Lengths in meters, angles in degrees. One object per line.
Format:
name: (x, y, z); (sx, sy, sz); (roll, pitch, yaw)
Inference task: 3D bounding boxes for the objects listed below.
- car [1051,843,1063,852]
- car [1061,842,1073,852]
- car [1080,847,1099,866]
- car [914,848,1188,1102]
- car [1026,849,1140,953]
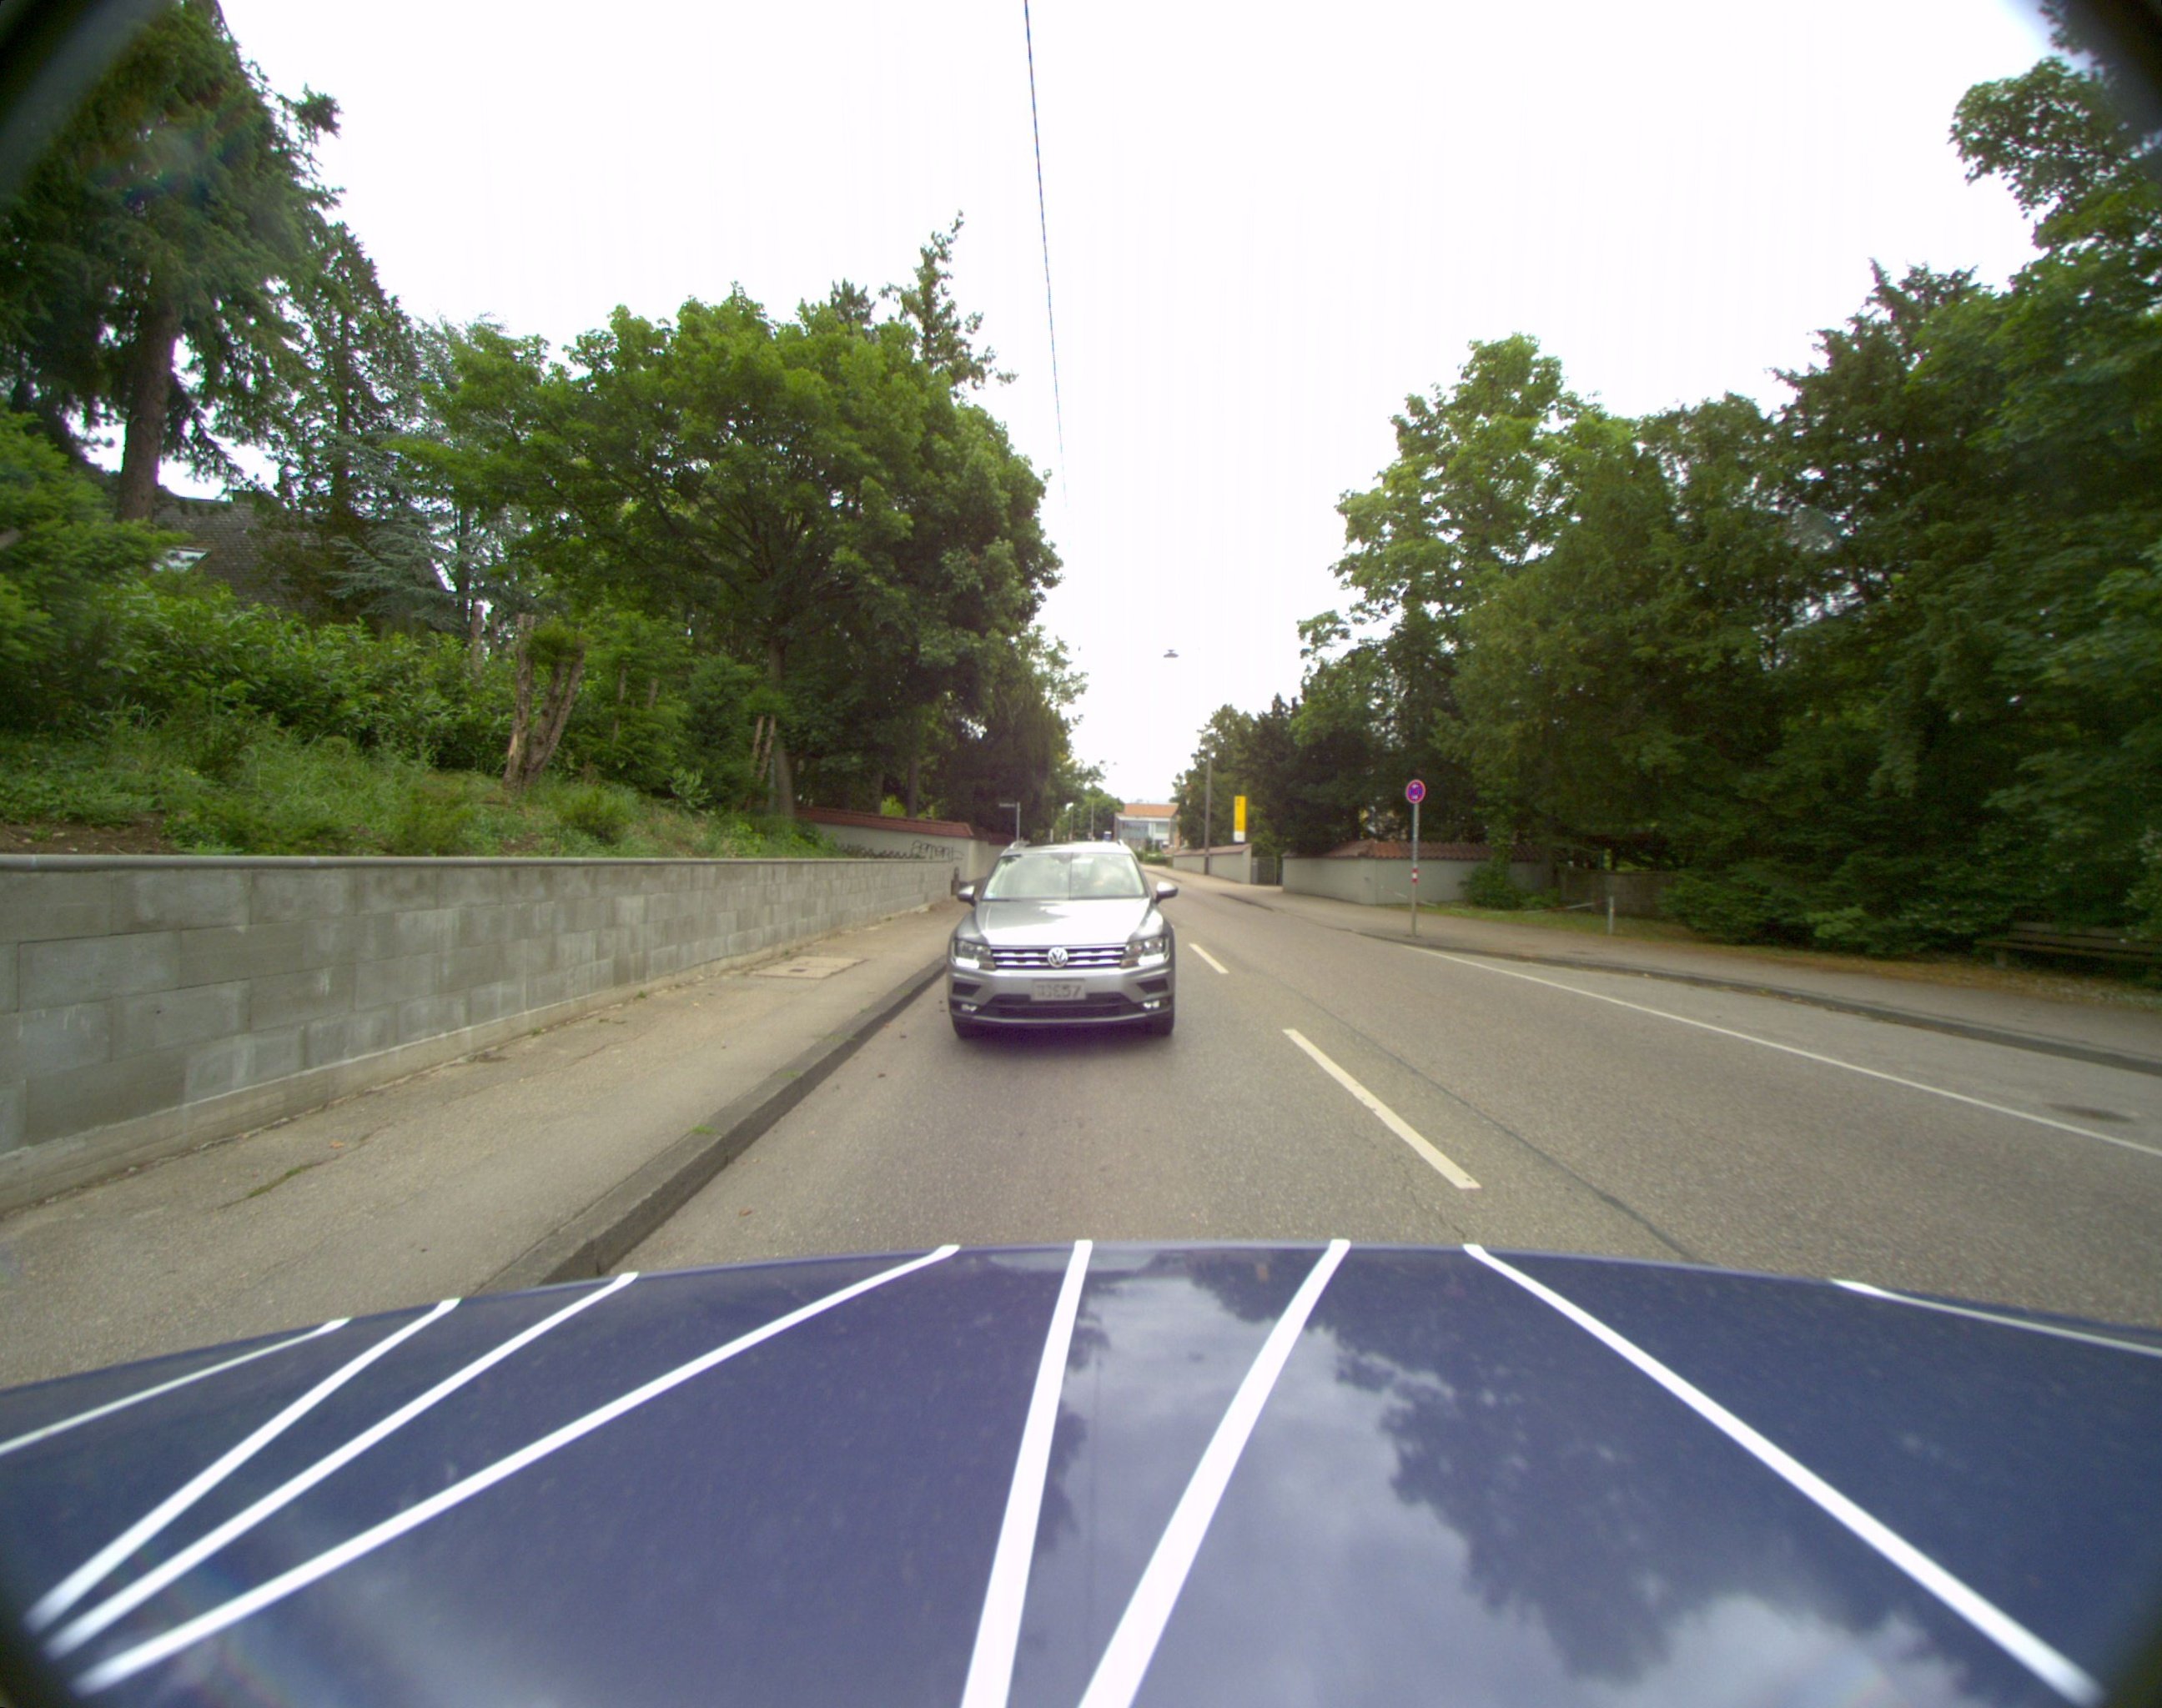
car: (-4.734, -1.314, 147.373); (1.878, 1.647, 4.252); (0, 1, -8)
car: (-2.433, -1.161, 130.188); (1.878, 1.647, 4.253); (0, 1, -5)
car: (0.807, 0.222, 72.692); (1.820, 1.733, 4.487); (0, 1, 0)
car: (-0.188, 0.807, 7.505); (1.820, 1.690, 4.718); (-1, 0, 0)
car: (0.040, 0.737, 14.428); (1.820, 1.647, 4.487); (0, 1, 0)
